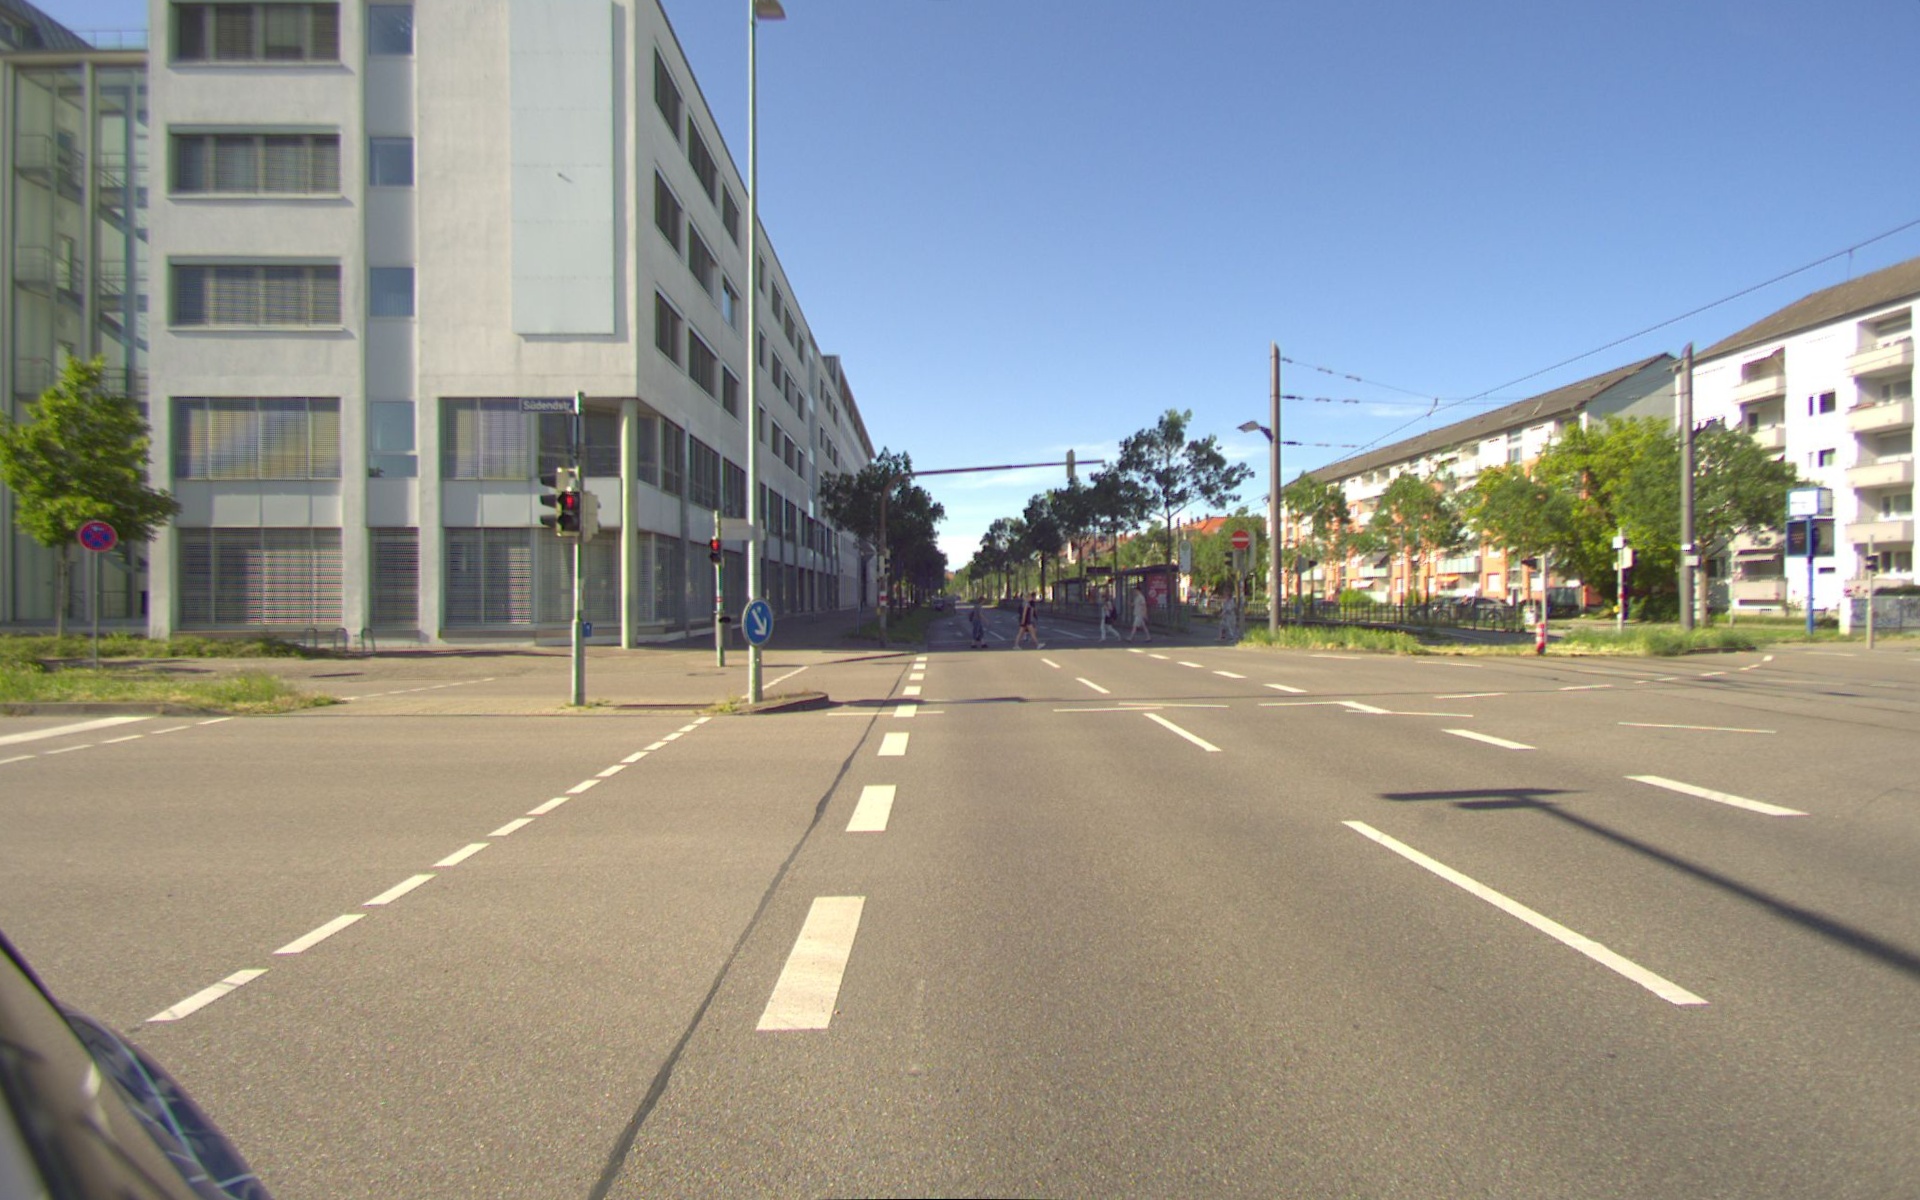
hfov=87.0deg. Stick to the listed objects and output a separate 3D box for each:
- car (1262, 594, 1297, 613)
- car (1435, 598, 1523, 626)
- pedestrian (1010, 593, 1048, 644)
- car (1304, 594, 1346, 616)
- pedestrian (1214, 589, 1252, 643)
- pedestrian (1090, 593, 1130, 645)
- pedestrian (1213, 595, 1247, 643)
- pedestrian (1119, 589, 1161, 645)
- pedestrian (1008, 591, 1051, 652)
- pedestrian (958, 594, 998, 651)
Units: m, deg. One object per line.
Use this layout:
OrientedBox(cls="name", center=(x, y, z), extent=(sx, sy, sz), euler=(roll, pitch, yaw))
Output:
OrientedBox(cls="car", center=(30.870, 0.358, 97.885), extent=(1.970, 1.863, 4.003), euler=(0, 0, -3))
OrientedBox(cls="car", center=(30.424, 0.690, 59.369), extent=(4.393, 1.442, 1.672), euler=(2, 3, 38))
OrientedBox(cls="pedestrian", center=(2.347, 0.626, 34.595), extent=(1.136, 1.739, 0.814), euler=(0, -1, -6))
OrientedBox(cls="car", center=(31.461, 0.449, 87.352), extent=(1.970, 1.863, 4.003), euler=(0, 0, -3))
OrientedBox(cls="pedestrian", center=(9.088, 0.522, 33.678), extent=(0.813, 1.739, 1.139), euler=(-1, -1, 40))
OrientedBox(cls="pedestrian", center=(5.017, 0.630, 33.829), extent=(1.136, 1.739, 0.814), euler=(0, -1, -6))
OrientedBox(cls="pedestrian", center=(8.666, 0.608, 32.522), extent=(0.845, 1.545, 0.727), euler=(0, -1, -6))
OrientedBox(cls="pedestrian", center=(5.836, 0.553, 32.838), extent=(1.136, 1.784, 0.925), euler=(0, -1, -6))
OrientedBox(cls="pedestrian", center=(2.030, 0.623, 29.630), extent=(1.136, 1.739, 0.814), euler=(0, -1, -6))
OrientedBox(cls="pedestrian", center=(0.554, 0.700, 31.487), extent=(1.136, 1.739, 0.814), euler=(0, -1, -6))
